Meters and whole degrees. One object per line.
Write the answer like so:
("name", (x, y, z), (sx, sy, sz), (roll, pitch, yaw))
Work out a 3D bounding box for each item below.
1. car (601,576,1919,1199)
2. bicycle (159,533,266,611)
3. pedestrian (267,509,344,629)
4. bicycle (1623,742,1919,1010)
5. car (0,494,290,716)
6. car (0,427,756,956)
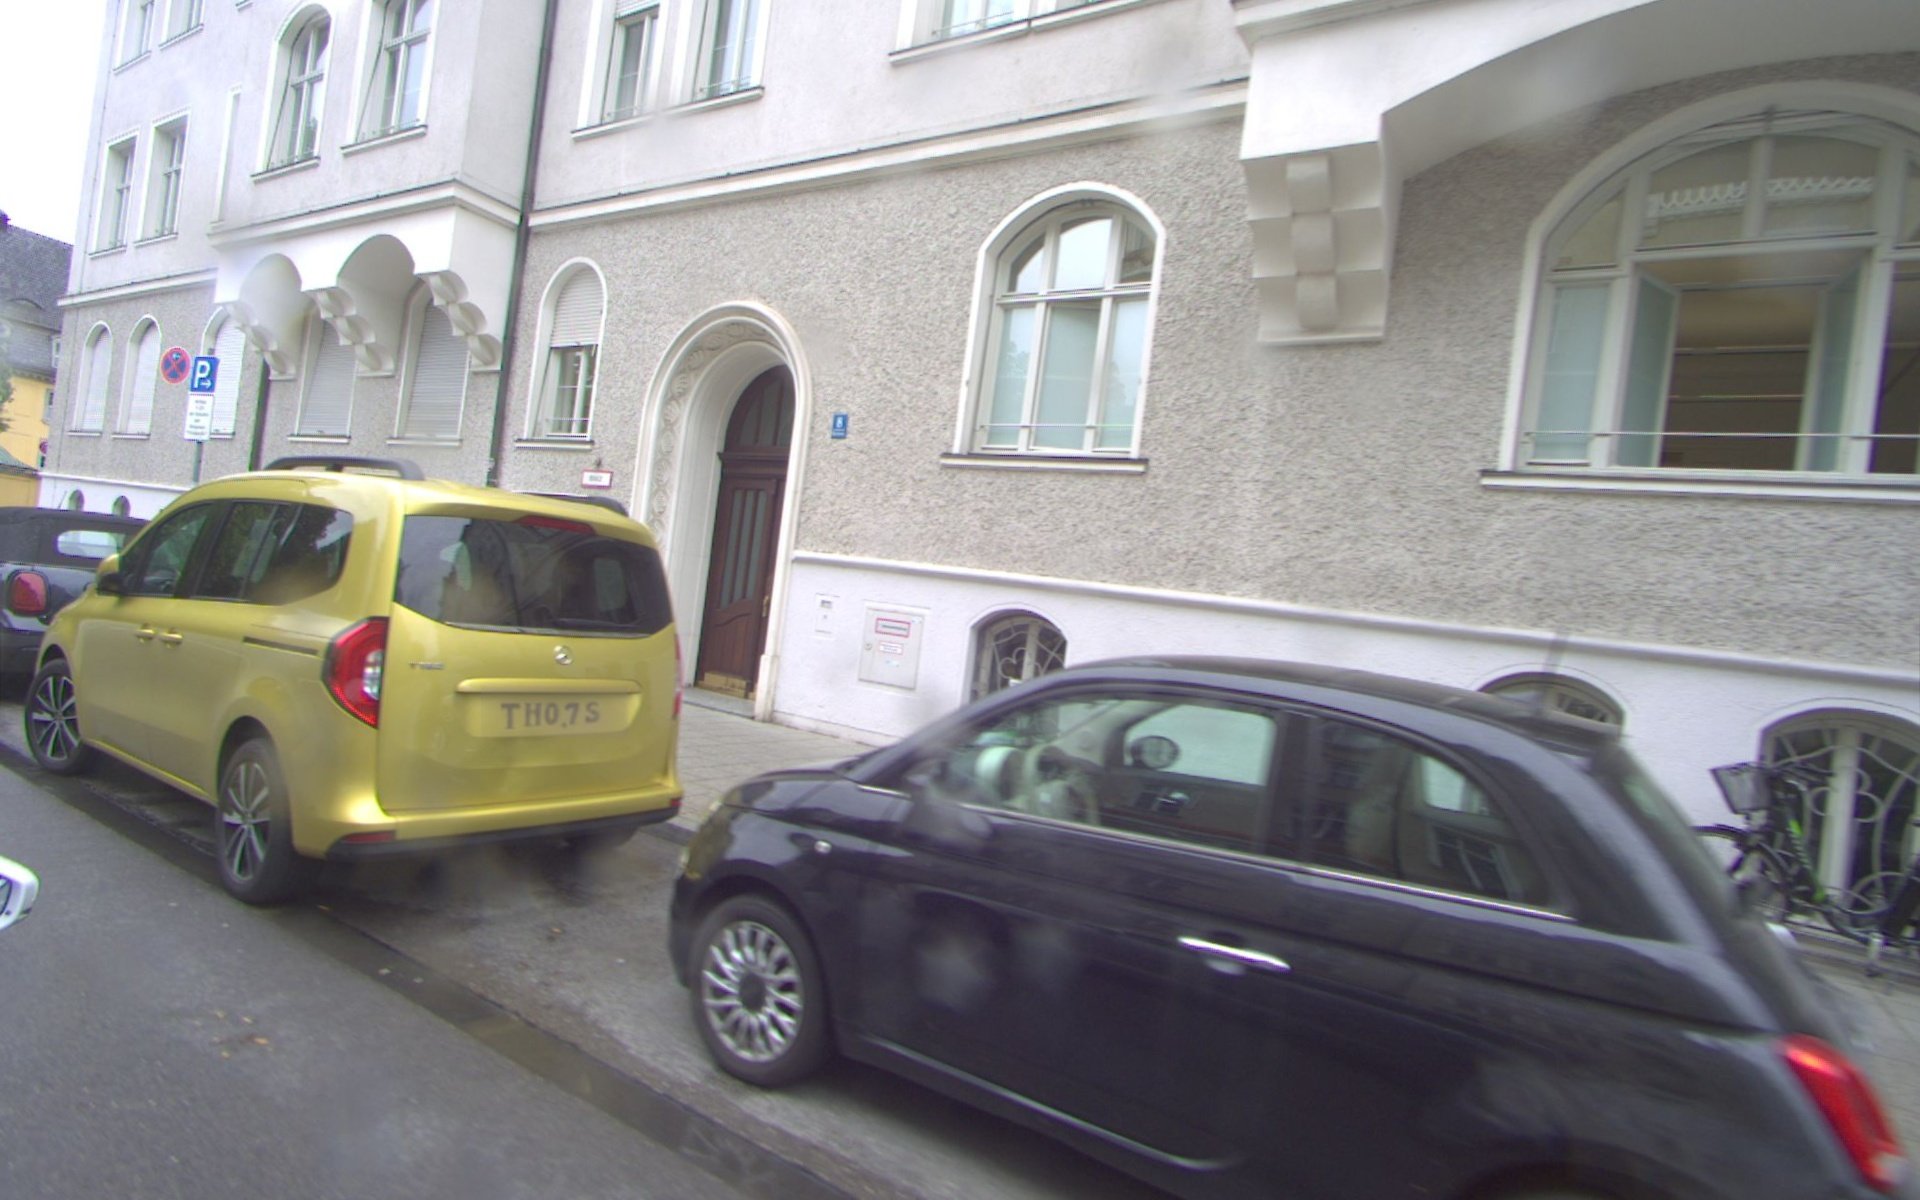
("car", (0.851, 0.917, 3.085), (3.722, 1.502, 1.634), (7, -1, 33))
("bicycle", (-12.977, -0.496, 17.443), (2.245, 1.108, 0.694), (7, 2, 33))
("pedestrian", (-10.101, -0.473, 15.557), (0.723, 1.760, 0.691), (4, 1, -13))
("bicycle", (4.927, 1.534, 5.539), (2.003, 1.108, 0.694), (7, 2, 33))
("car", (-7.572, -0.070, 8.512), (3.832, 1.474, 1.666), (7, -1, 33))
("car", (-3.591, 0.178, 5.666), (4.744, 1.875, 1.852), (7, -1, 35))
